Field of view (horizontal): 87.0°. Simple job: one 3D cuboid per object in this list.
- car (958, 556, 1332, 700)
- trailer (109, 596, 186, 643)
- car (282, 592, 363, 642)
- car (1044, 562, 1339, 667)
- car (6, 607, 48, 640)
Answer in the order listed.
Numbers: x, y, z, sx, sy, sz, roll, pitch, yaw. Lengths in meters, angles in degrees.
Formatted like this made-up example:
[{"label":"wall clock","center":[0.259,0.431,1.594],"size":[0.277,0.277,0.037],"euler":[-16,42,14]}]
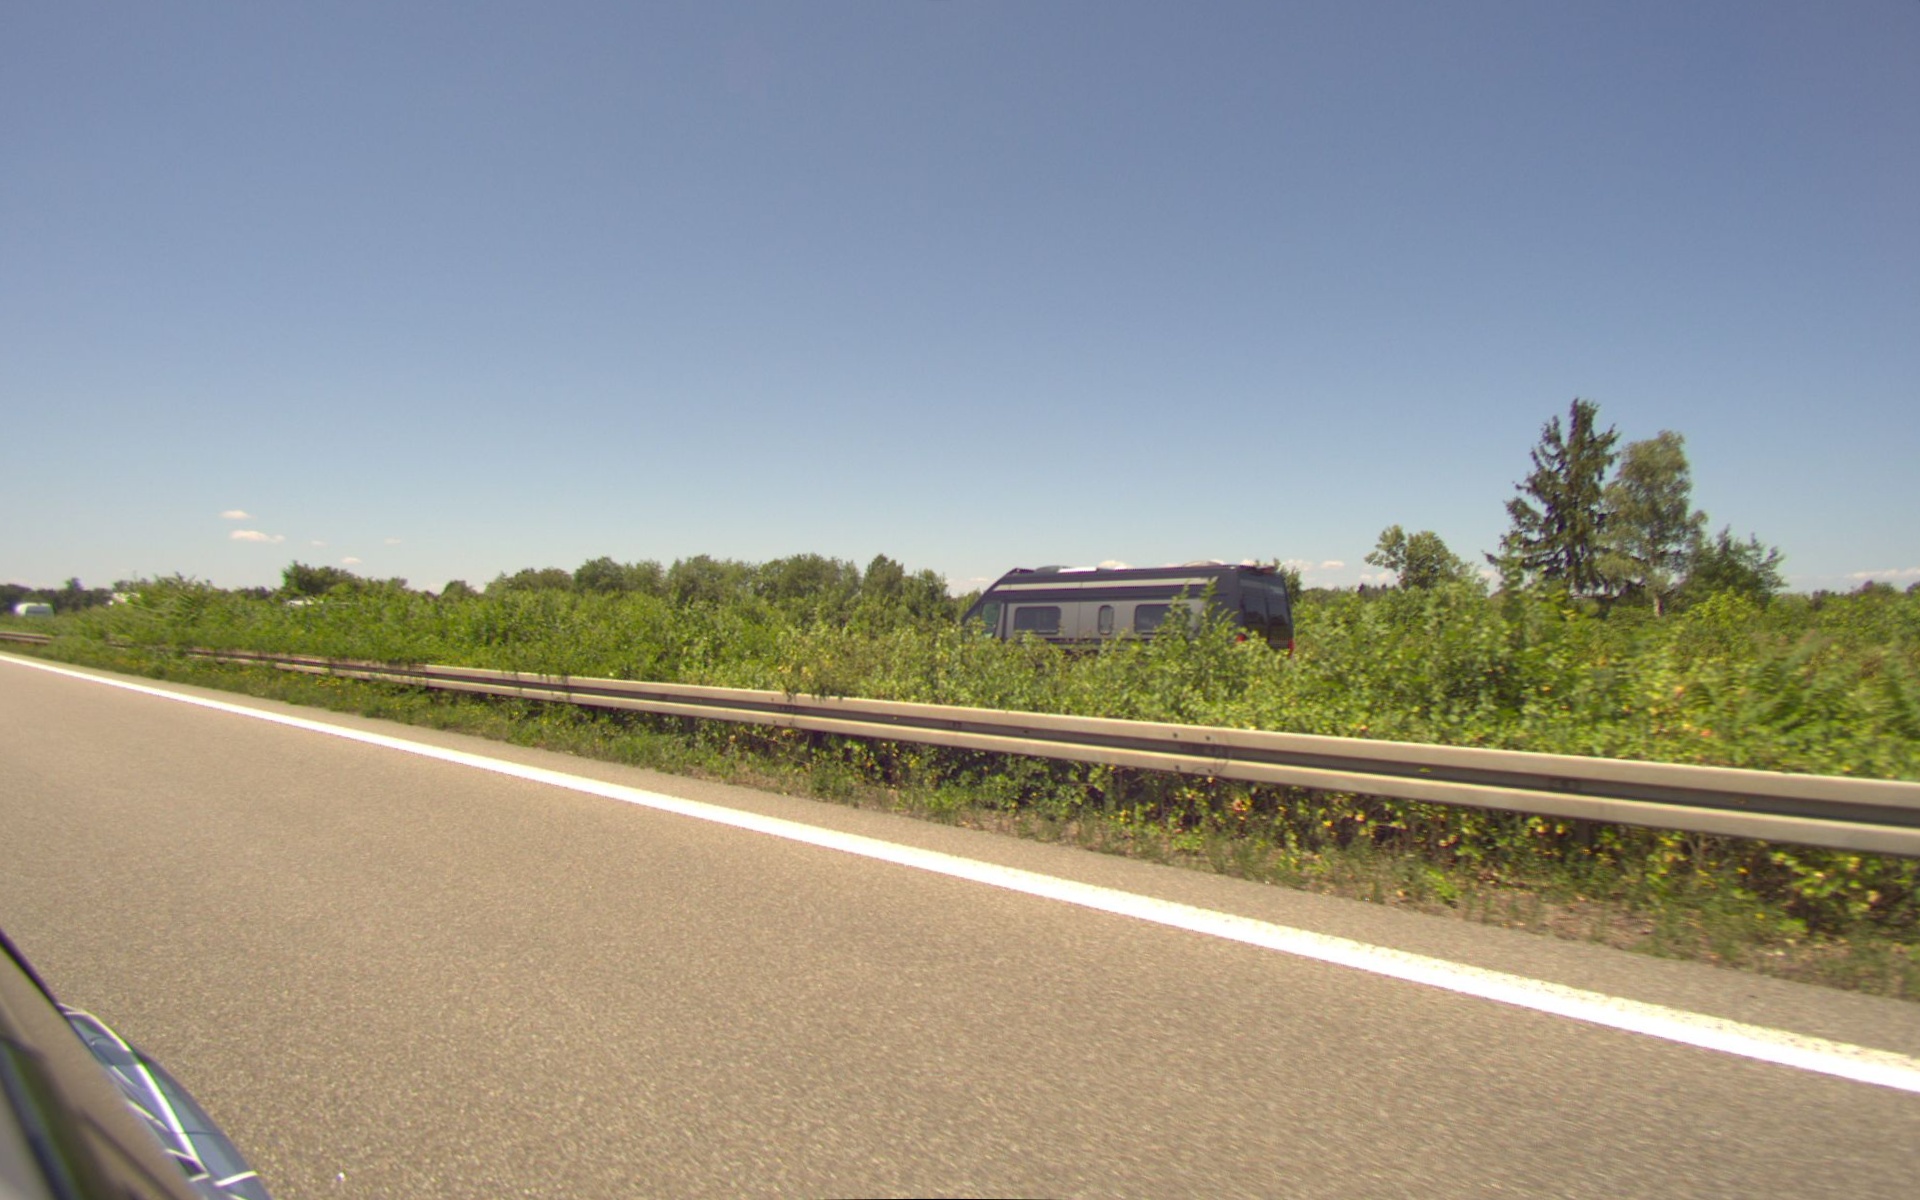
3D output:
[{"label":"car","center":[2.773,0.401,16.169],"size":[5.516,1.913,2.235],"euler":[-1,0,41]},{"label":"trailer","center":[-72.603,1.746,90.274],"size":[13.903,3.899,2.903],"euler":[-1,0,41]},{"label":"car","center":[-36.591,0.968,57.985],"size":[5.516,2.729,2.444],"euler":[-1,0,41]},{"label":"car","center":[4.711,0.287,21.185],"size":[5.516,1.913,2.444],"euler":[-1,0,41]},{"label":"car","center":[-74.977,1.871,81.308],"size":[6.775,2.519,1.787],"euler":[-1,0,42]}]
